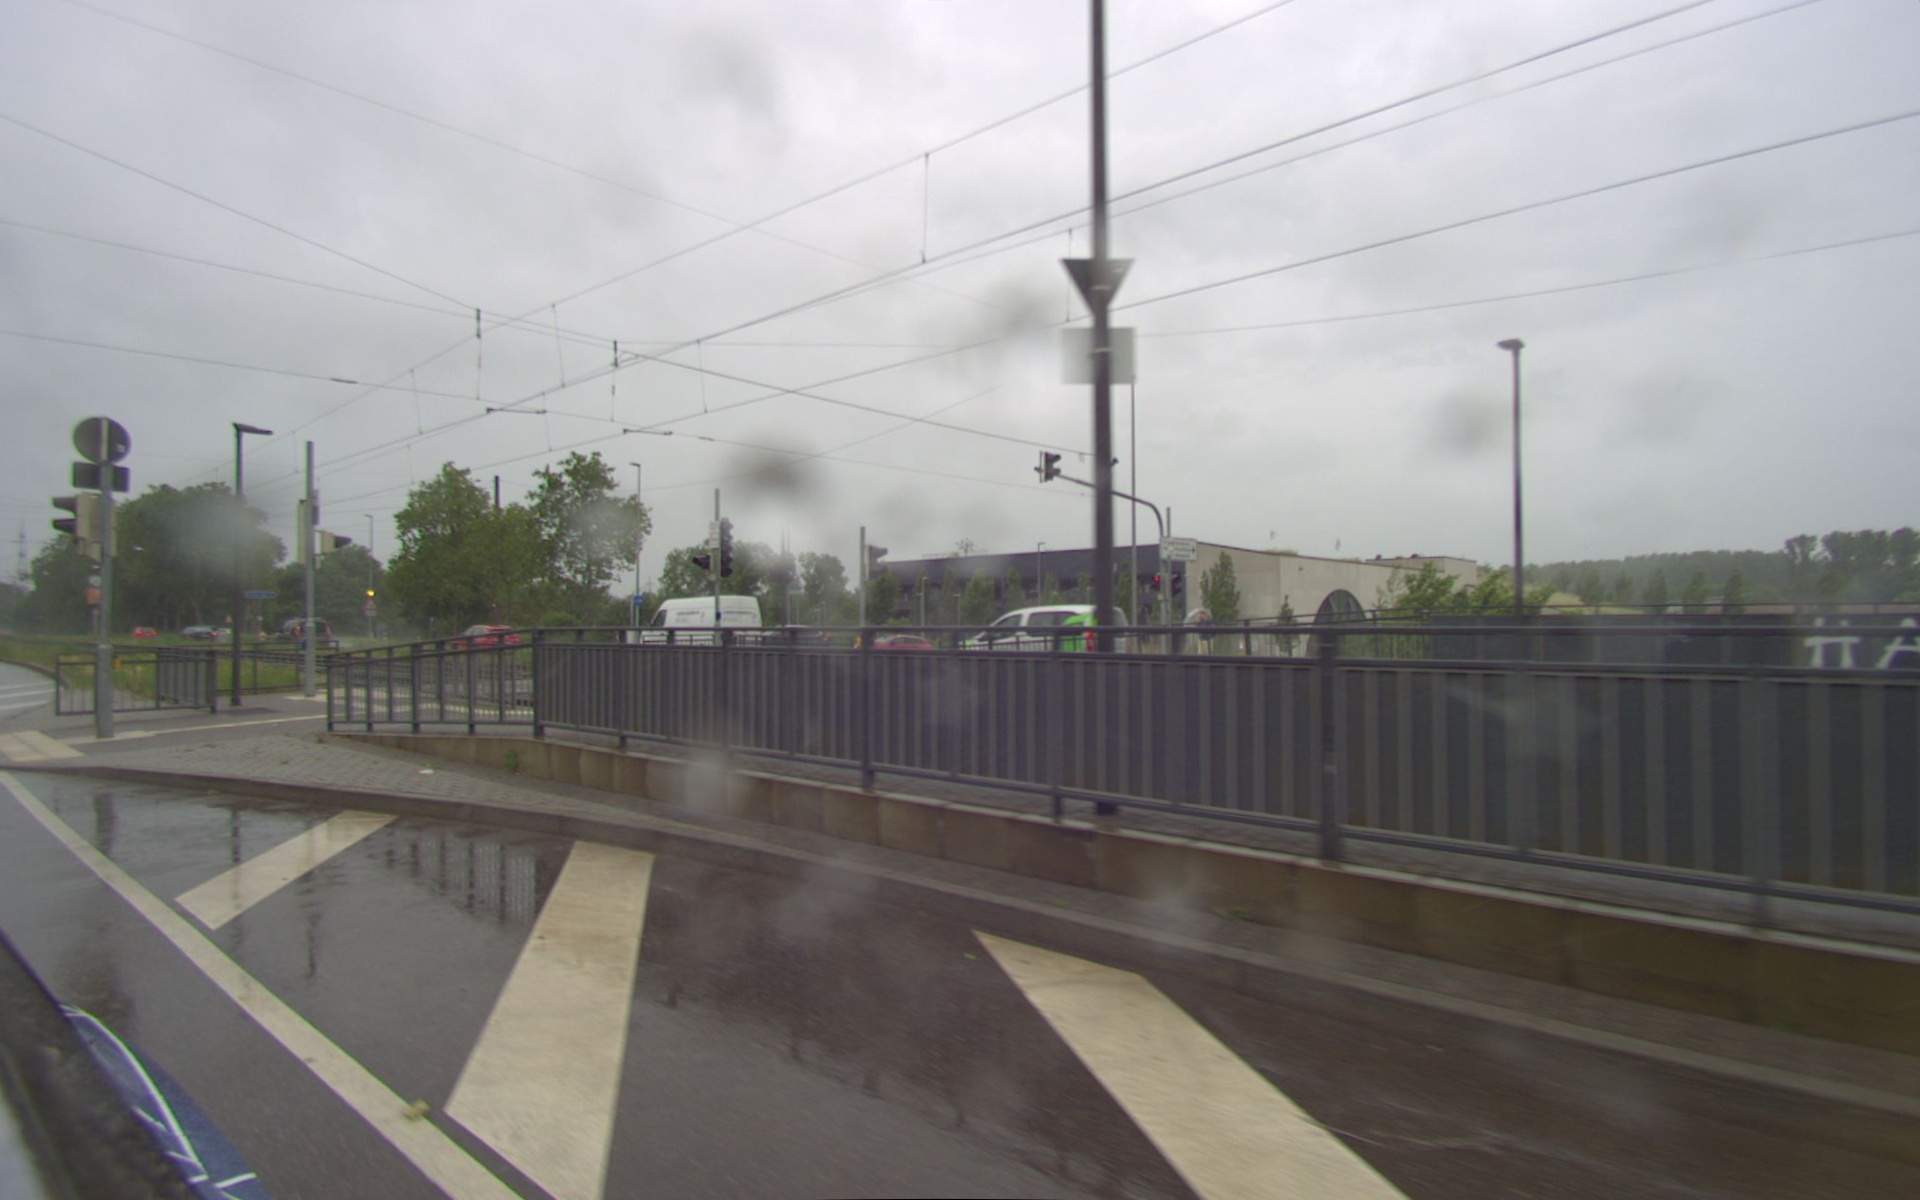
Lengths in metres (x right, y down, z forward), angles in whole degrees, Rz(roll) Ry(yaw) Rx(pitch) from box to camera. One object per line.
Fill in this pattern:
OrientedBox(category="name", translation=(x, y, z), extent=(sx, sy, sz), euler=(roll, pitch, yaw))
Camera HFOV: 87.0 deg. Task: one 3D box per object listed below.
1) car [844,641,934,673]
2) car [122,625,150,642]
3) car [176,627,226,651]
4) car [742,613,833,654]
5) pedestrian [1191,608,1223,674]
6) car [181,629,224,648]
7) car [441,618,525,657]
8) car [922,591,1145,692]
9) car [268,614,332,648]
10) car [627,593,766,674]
OrientedBox(category="car", translation=(-3.763, 2.985, 53.808), extent=(4.302, 1.453, 2.005), euler=(-1, -1, -36))
OrientedBox(category="car", translation=(-79.284, 3.190, 97.364), extent=(3.618, 1.602, 1.585), euler=(-1, -1, 42))
OrientedBox(category="car", translation=(-54.098, 2.808, 72.125), extent=(4.380, 1.608, 1.972), euler=(-2, -5, 42))
OrientedBox(category="car", translation=(-8.463, 1.606, 49.735), extent=(3.931, 1.874, 2.006), euler=(-1, -1, -28))
OrientedBox(category="pedestrian", translation=(7.826, 1.285, 32.025), extent=(0.696, 2.029, 0.691), euler=(-2, -1, 42))
OrientedBox(category="car", translation=(-62.616, 3.146, 83.632), extent=(4.296, 1.497, 1.973), euler=(-2, -1, 41))
OrientedBox(category="car", translation=(-22.652, 1.755, 47.972), extent=(4.623, 1.720, 1.972), euler=(-2, -1, 42))
OrientedBox(category="car", translation=(1.556, 0.879, 22.714), extent=(4.751, 2.029, 1.973), euler=(-2, -1, 41))
OrientedBox(category="car", translation=(-36.682, 1.700, 56.213), extent=(4.256, 1.785, 1.972), euler=(-2, -1, 42))
OrientedBox(category="car", translation=(-9.714, 1.182, 37.023), extent=(5.736, 2.733, 2.097), euler=(-2, -1, 42))
